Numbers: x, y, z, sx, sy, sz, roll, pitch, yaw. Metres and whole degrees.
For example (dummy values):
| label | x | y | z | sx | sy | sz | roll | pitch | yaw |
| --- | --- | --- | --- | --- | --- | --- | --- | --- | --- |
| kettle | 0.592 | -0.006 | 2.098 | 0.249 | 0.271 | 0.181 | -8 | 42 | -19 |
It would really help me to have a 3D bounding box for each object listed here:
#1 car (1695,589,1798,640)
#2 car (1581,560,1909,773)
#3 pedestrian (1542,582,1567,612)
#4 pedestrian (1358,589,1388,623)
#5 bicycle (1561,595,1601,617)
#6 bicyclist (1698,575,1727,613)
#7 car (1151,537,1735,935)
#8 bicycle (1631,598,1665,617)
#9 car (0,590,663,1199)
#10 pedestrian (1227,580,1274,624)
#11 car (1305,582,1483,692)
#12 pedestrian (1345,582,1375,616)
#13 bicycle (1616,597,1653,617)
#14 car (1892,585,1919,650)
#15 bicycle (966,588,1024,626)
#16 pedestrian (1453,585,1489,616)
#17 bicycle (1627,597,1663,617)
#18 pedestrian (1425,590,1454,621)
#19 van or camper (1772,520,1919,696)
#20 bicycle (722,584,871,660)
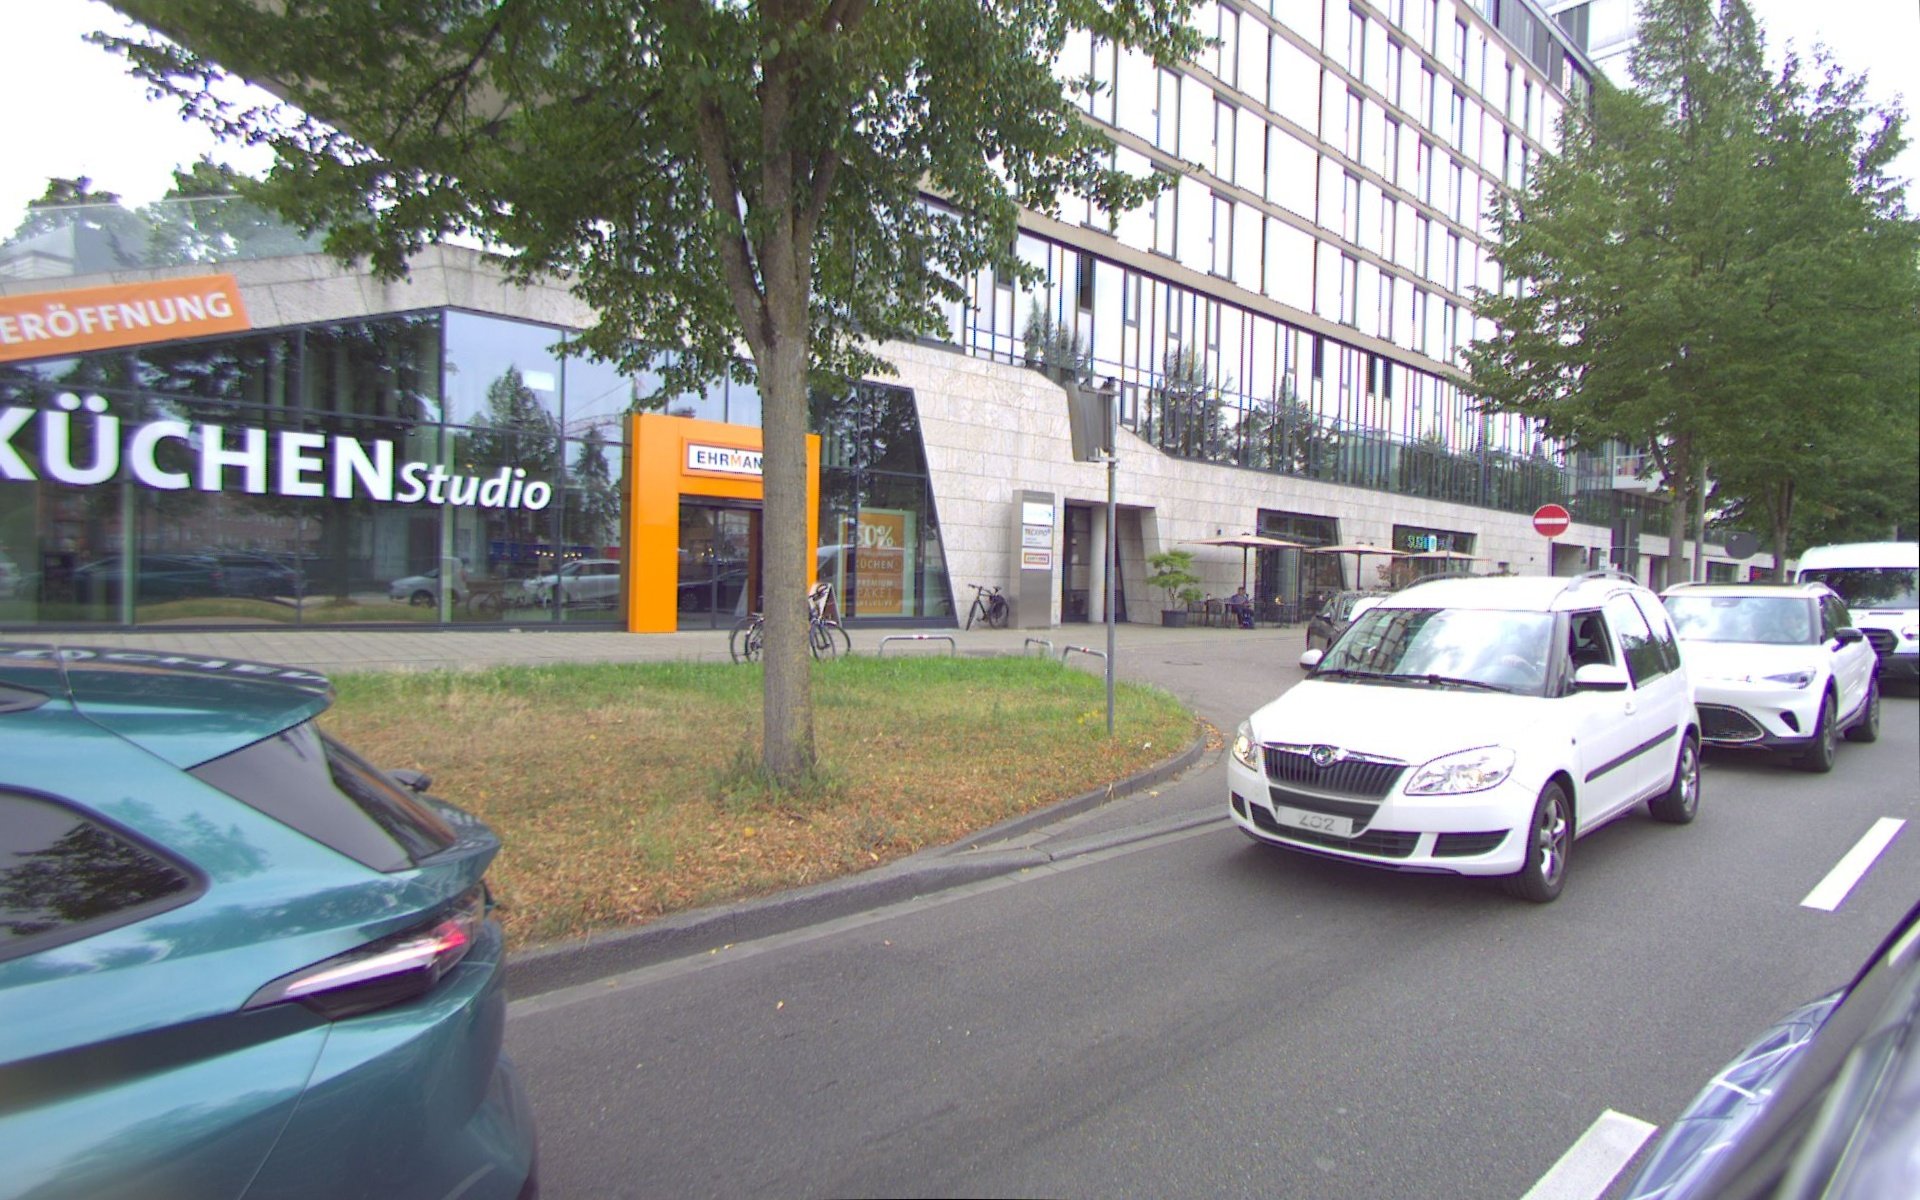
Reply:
| label | x | y | z | sx | sy | sz | roll | pitch | yaw |
| --- | --- | --- | --- | --- | --- | --- | --- | --- | --- |
| car | 26.373 | 0.461 | 33.887 | 4.514 | 1.571 | 1.941 | 1 | 1 | -42 |
| car | 7.825 | 0.504 | 9.958 | 3.953 | 1.677 | 1.782 | 0 | 2 | -41 |
| pedestrian | 28.202 | -0.137 | 48.005 | 0.707 | 1.424 | 0.759 | 1 | 1 | -33 |
| pedestrian | 15.065 | 0.216 | 36.937 | 0.745 | 1.207 | 0.720 | 1 | 1 | -39 |
| bicycle | 31.132 | 0.301 | 50.720 | 1.584 | 1.039 | 0.606 | 3 | 2 | 23 |
| bicyclist | 32.864 | -0.264 | 44.212 | 0.972 | 1.601 | 0.726 | 0 | 3 | -39 |
| car | 3.147 | 0.549 | 6.230 | 3.953 | 1.677 | 1.782 | 0 | 2 | -41 |
| bicycle | 39.452 | 0.423 | 58.034 | 0.524 | 1.039 | 1.530 | 0 | 2 | -43 |
| car | -2.633 | 0.708 | 0.853 | 4.239 | 1.450 | 1.789 | 0 | 0 | -44 |
| pedestrian | 8.534 | 0.050 | 29.730 | 0.932 | 1.243 | 0.900 | 1 | 1 | -36 |
| car | 7.009 | 0.478 | 16.885 | 1.919 | 1.494 | 4.850 | 2 | 1 | 14 |
| pedestrian | 14.345 | -0.031 | 36.307 | 0.746 | 1.207 | 0.720 | 1 | 1 | -42 |
| bicycle | 36.776 | 0.381 | 55.190 | 0.524 | 1.039 | 1.599 | 0 | 2 | -43 |
| car | 25.277 | 0.456 | 25.630 | 4.066 | 1.557 | 1.972 | 0 | 2 | -41 |
| bicycle | 0.880 | 0.166 | 25.135 | 1.467 | 0.921 | 0.519 | 0 | 1 | -41 |
| pedestrian | 20.601 | 0.012 | 40.812 | 1.083 | 1.207 | 0.776 | 1 | 1 | -26 |
| bicycle | 38.315 | 0.388 | 56.614 | 0.524 | 1.039 | 1.599 | 0 | 2 | -43 |
| pedestrian | 19.129 | 0.215 | 40.384 | 0.743 | 1.207 | 0.723 | 1 | 1 | -19 |
| van or camper | 15.825 | 0.119 | 17.205 | 6.230 | 2.540 | 2.181 | 0 | 0 | -42 |
| bicycle | -2.234 | 0.280 | 14.090 | 0.630 | 0.968 | 2.074 | 2 | 2 | 44 |
